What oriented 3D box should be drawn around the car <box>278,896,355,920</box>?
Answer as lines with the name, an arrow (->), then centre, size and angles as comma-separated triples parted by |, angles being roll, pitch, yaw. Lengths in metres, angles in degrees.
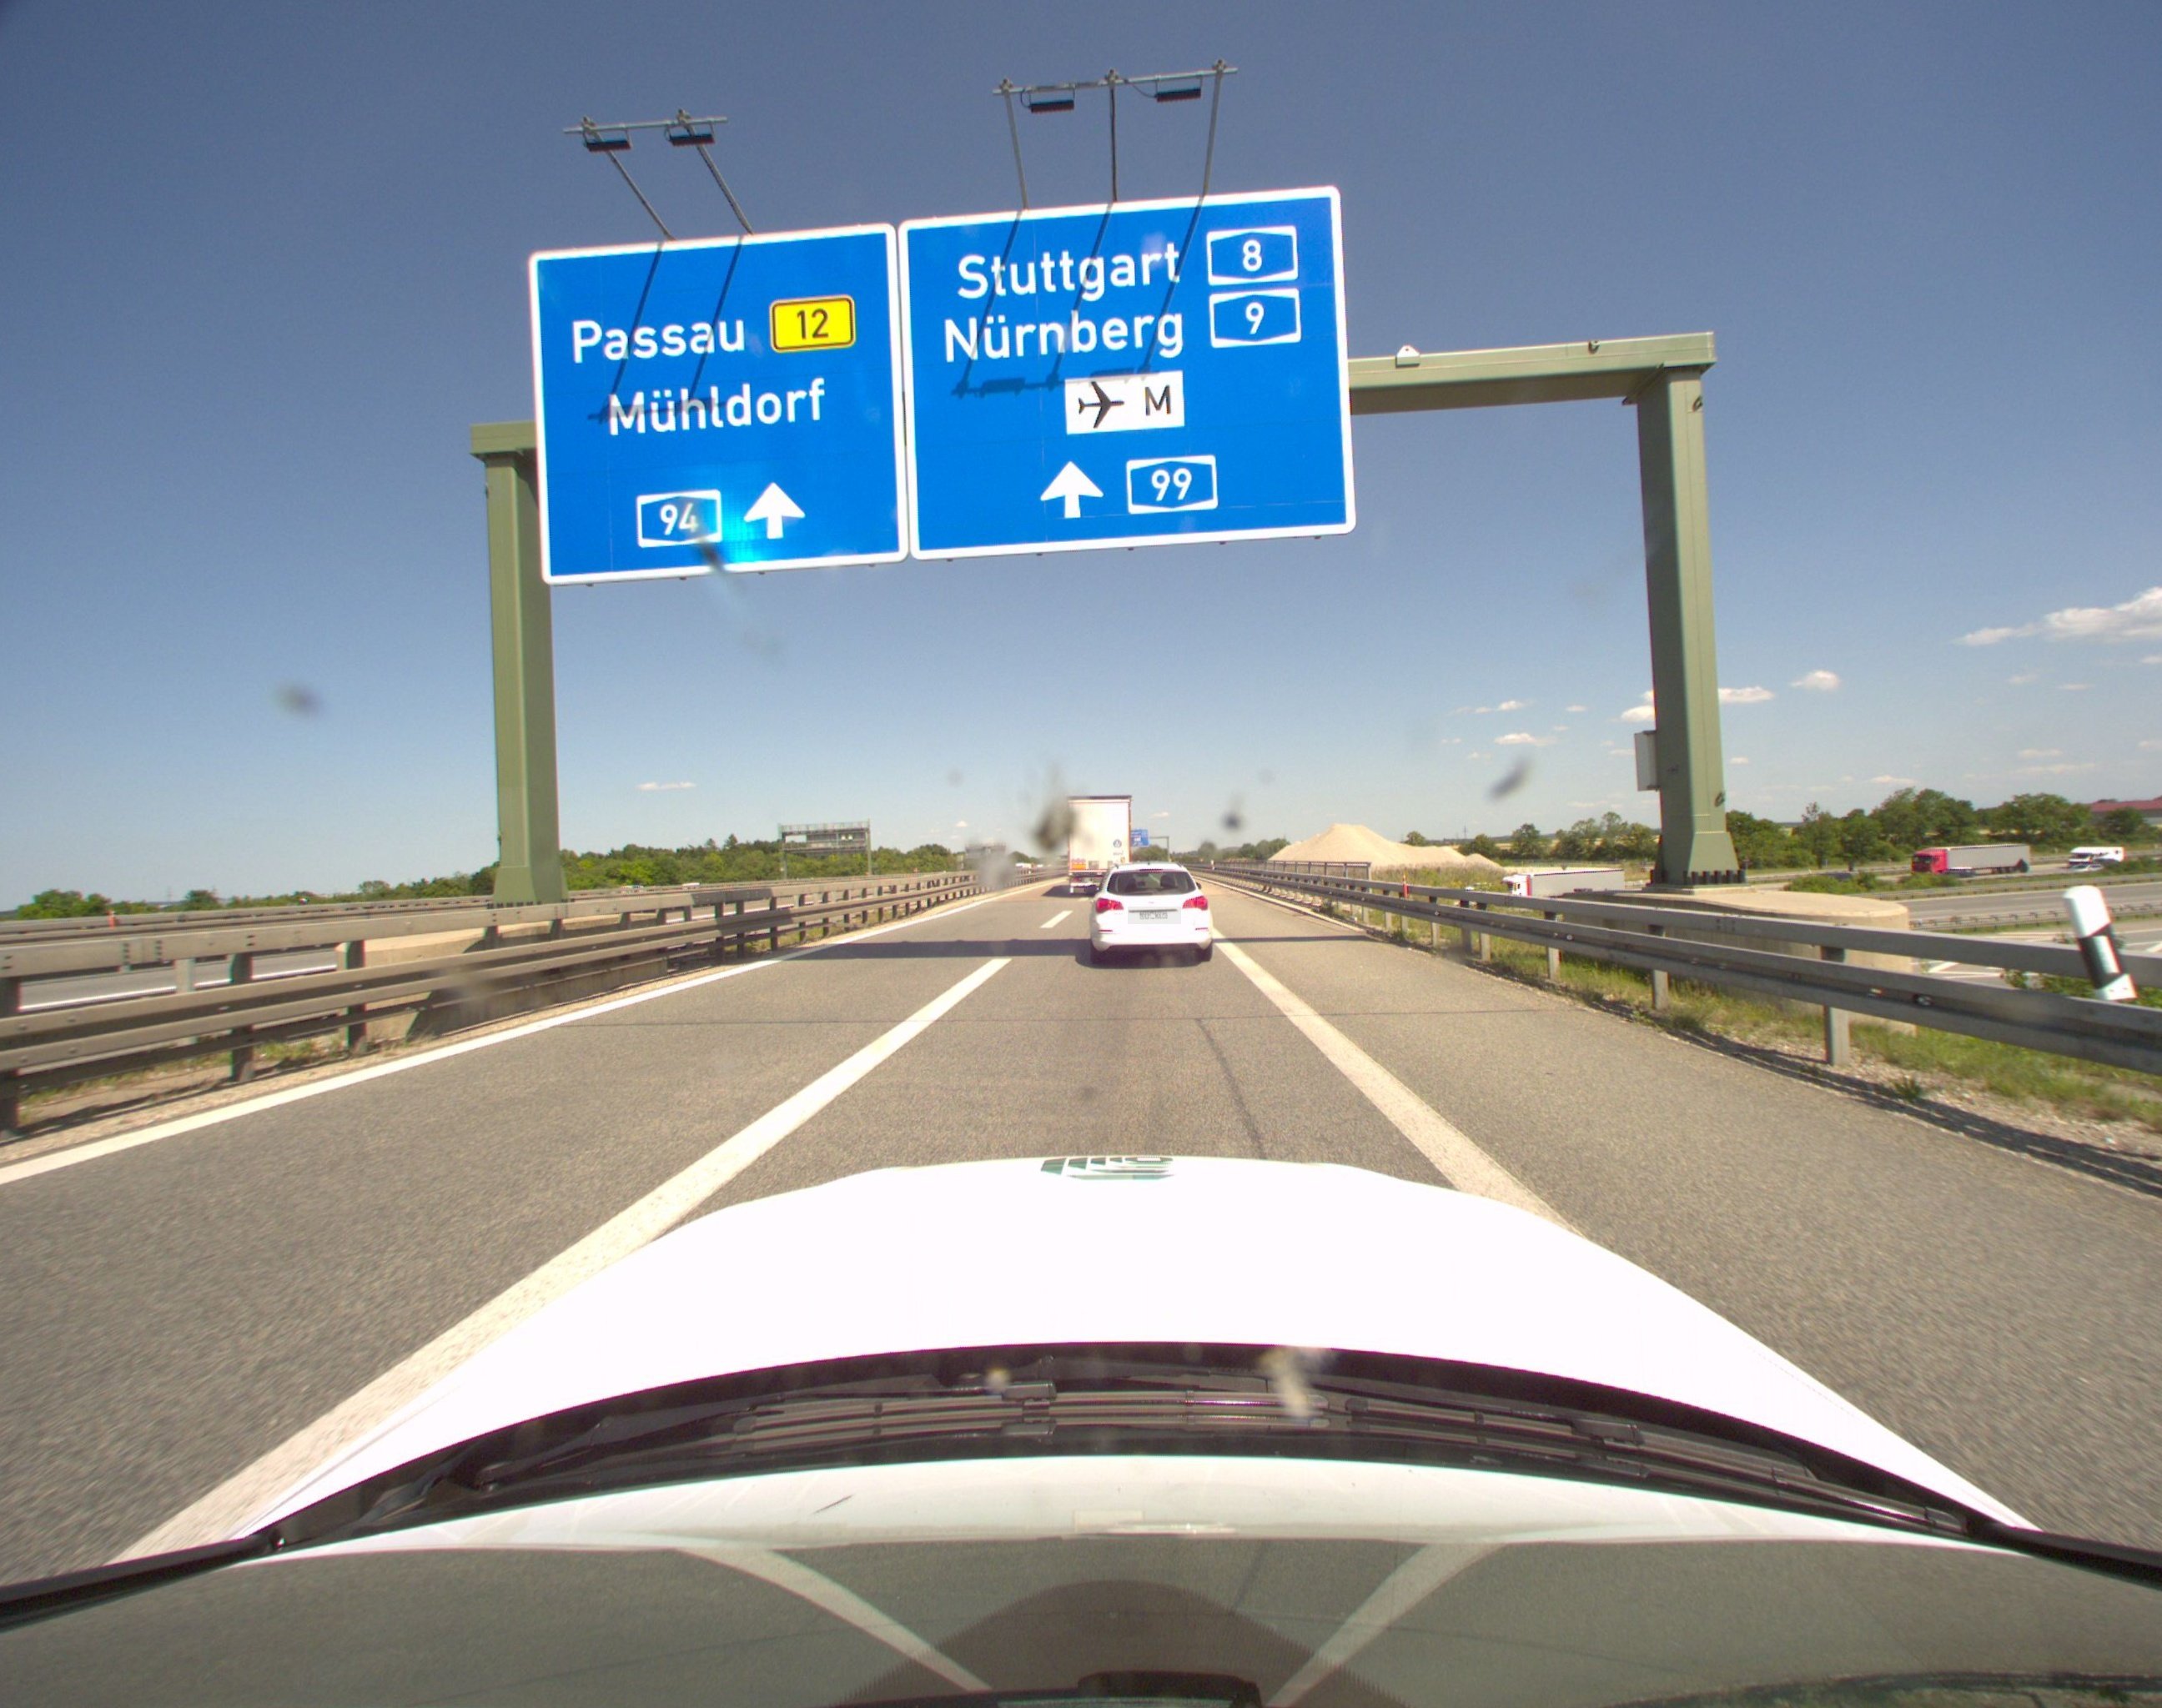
car -> -48.271, 3.390, 51.492 | 1.572, 1.354, 3.345 | -3, -3, 3

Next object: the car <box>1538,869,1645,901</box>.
car -> 65.762, 3.938, 105.051 | 12.954, 3.964, 2.477 | 0, -1, -7

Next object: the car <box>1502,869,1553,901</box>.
car -> 57.047, 3.989, 104.057 | 5.137, 3.964, 2.477 | 0, -1, -6

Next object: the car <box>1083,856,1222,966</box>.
car -> 1.102, 0.795, 13.172 | 1.846, 1.443, 4.376 | -1, -1, 4

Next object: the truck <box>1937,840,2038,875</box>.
truck -> 128.176, 0.508, 115.142 | 12.527, 4.064, 2.862 | -3, -1, -8

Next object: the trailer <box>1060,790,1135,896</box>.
trailer -> 0.802, -0.300, 38.052 | 2.902, 4.146, 11.259 | -1, -1, 1

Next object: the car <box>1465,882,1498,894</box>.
car -> 60.991, 5.189, 124.002 | 4.111, 1.610, 1.995 | 2, -1, -7

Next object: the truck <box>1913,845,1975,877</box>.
truck -> 120.888, 0.985, 114.109 | 5.933, 4.064, 2.862 | -3, -1, -7
